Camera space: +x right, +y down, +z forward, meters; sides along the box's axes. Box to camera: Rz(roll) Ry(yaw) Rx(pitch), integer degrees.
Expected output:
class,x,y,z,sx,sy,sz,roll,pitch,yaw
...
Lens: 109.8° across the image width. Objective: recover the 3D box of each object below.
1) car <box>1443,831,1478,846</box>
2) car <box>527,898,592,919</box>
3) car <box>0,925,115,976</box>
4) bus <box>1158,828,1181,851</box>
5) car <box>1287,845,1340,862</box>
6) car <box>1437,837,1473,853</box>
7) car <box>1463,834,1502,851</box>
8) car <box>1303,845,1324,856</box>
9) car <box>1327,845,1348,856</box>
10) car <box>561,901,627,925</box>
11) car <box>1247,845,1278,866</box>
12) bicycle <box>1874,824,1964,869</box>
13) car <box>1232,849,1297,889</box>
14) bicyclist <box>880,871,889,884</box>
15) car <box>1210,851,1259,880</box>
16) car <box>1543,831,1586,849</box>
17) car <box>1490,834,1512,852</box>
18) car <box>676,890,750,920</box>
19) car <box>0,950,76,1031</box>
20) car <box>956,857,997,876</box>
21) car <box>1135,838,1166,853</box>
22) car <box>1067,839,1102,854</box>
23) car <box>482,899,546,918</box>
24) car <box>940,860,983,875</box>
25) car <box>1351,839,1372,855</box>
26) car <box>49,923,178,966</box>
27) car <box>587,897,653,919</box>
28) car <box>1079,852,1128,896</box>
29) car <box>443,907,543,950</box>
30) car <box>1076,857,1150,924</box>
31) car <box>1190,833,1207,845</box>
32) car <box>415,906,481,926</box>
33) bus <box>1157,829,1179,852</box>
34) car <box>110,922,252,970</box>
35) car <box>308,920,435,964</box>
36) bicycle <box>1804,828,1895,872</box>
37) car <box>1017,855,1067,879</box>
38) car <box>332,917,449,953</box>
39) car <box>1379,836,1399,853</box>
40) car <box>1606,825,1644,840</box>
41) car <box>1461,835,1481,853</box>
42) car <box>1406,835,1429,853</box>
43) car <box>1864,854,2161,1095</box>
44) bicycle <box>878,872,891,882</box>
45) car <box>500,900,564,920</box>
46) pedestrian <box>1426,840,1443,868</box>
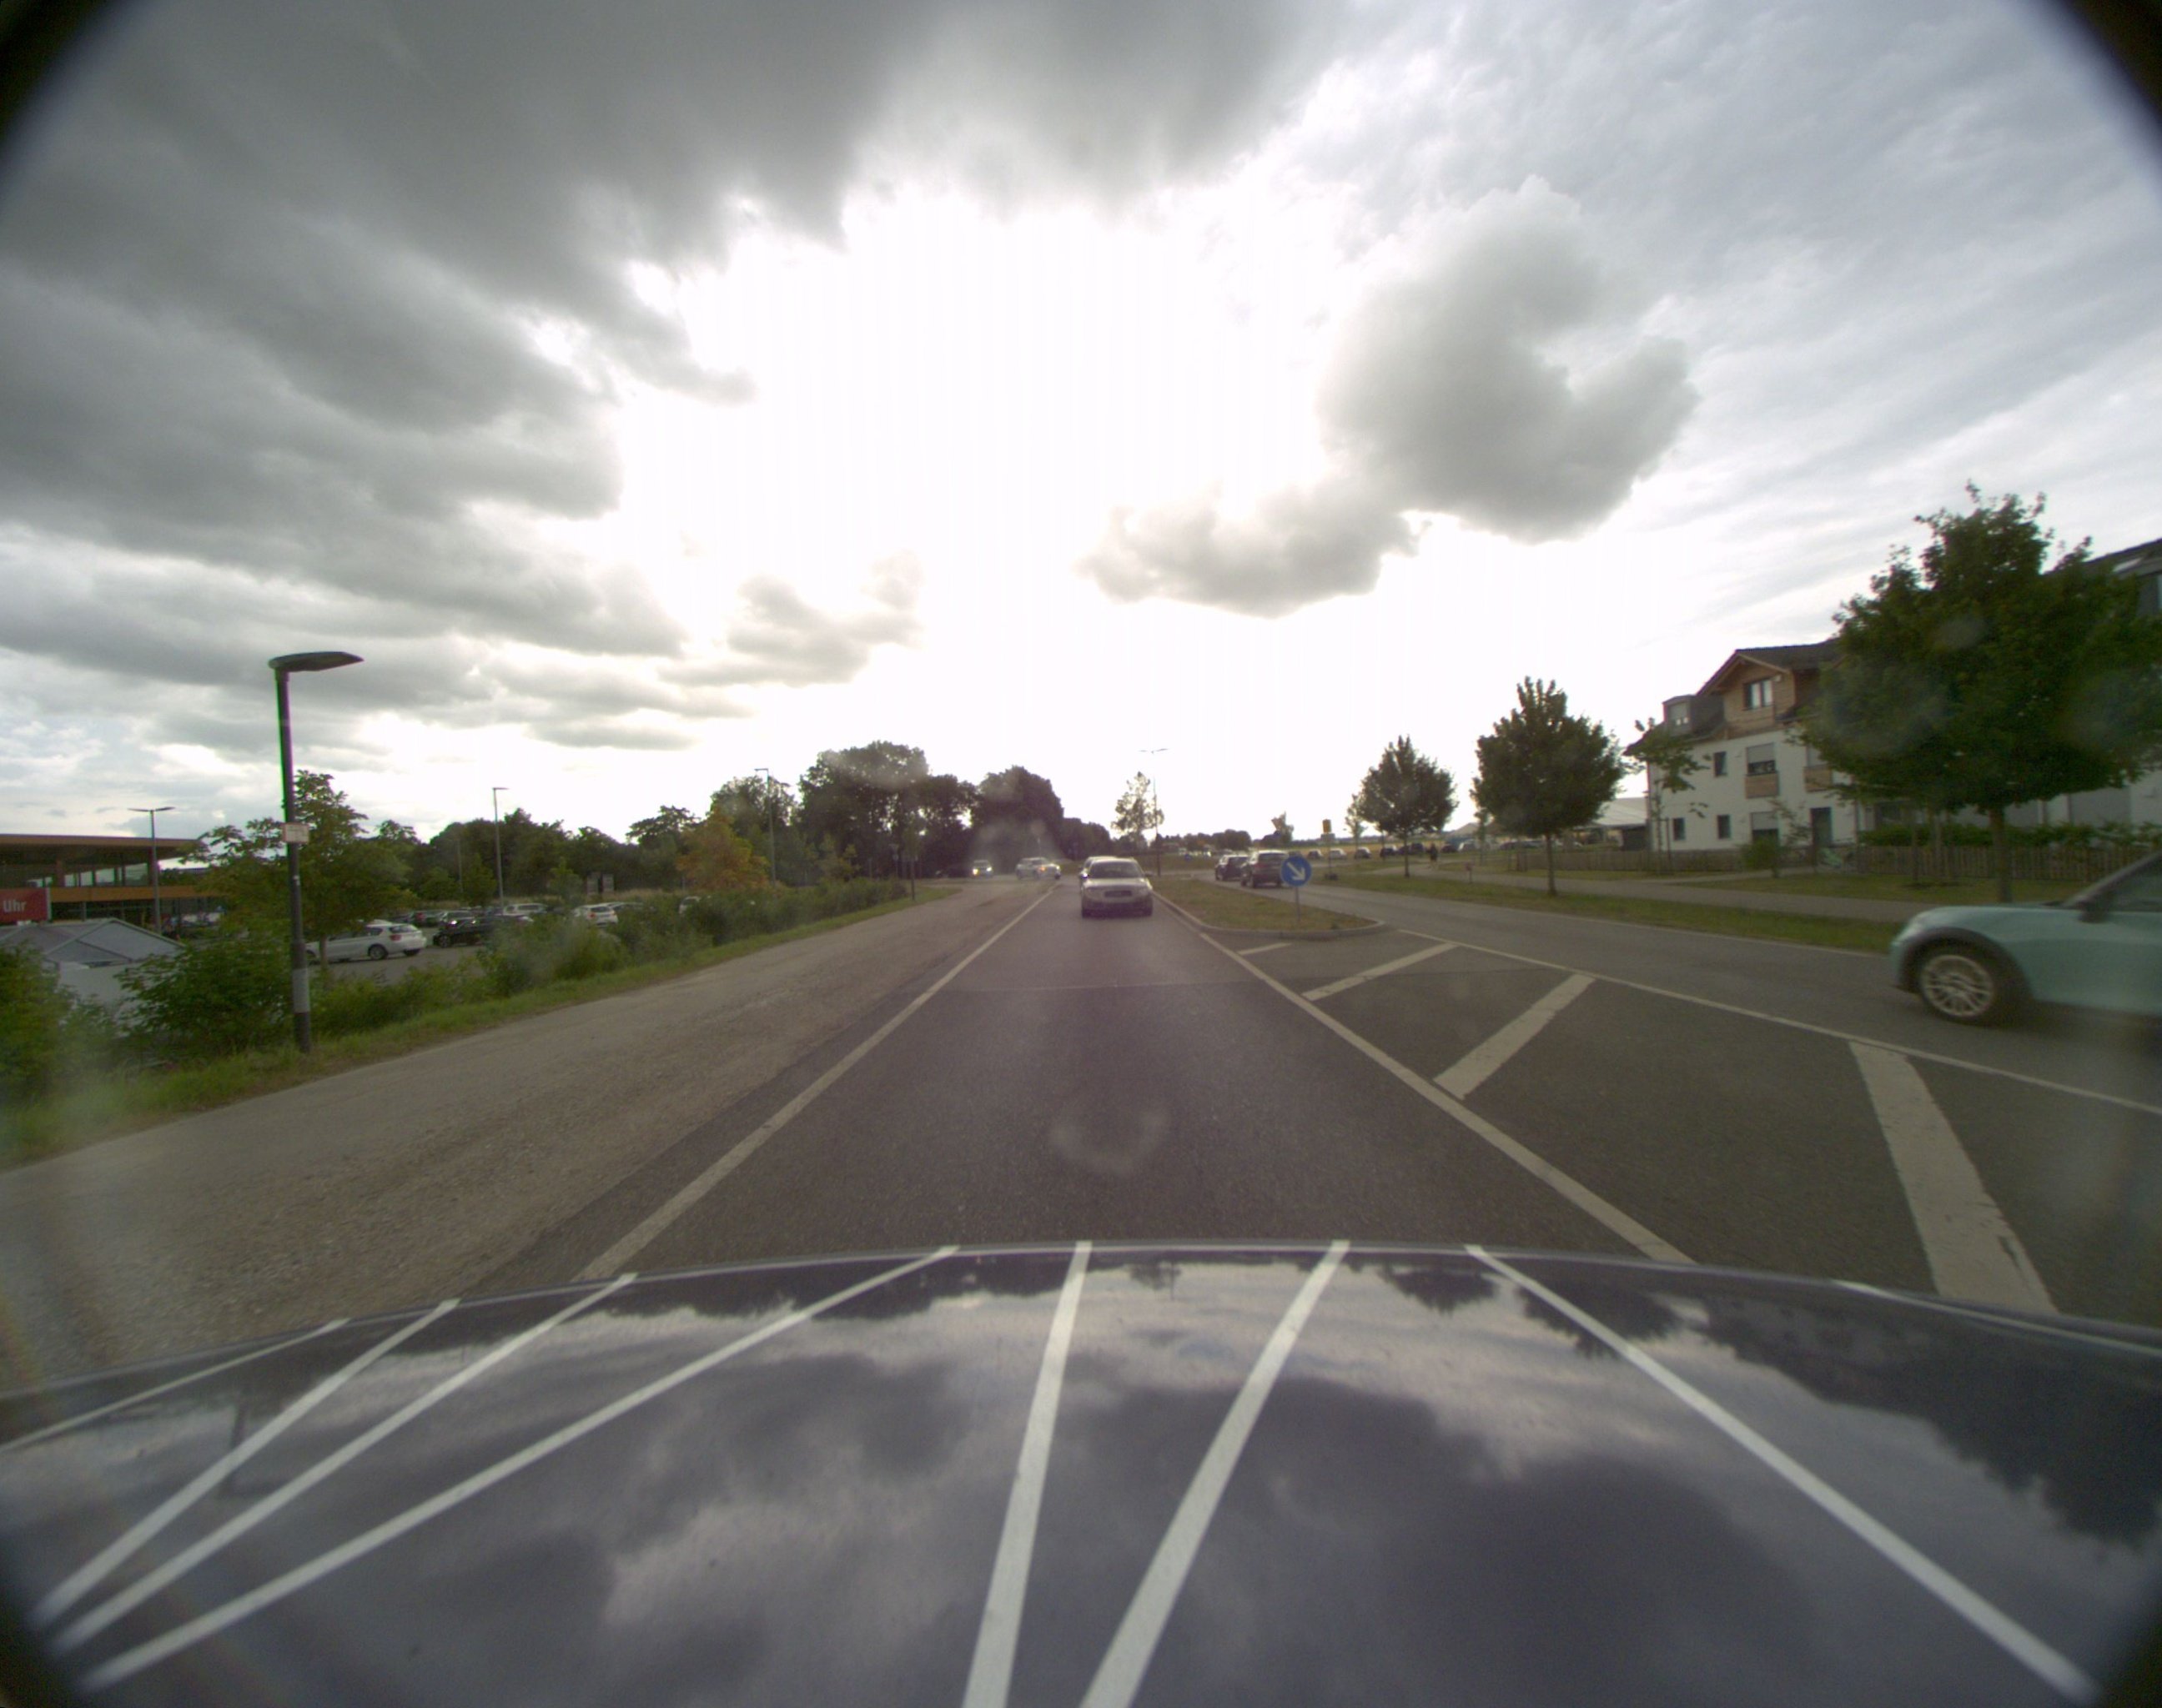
class,x,y,z,sx,sy,sz,roll,pitch,yaw
car,53.649,-2.173,107.511,4.001,2.002,1.998,-2,0,-11
car,-42.947,4.463,62.675,1.697,1.352,4.007,-2,0,28
car,-47.221,4.375,34.622,3.995,2.002,2.072,-2,0,5
bus,12.990,-2.050,111.634,2.990,3.261,6.487,-2,0,4
car,21.458,-0.058,70.103,4.338,1.480,1.829,-2,0,-13
car,50.846,-1.220,103.370,4.001,2.002,1.998,-2,0,-11
car,52.848,-1.500,100.046,4.000,2.002,1.999,-2,0,-8
car,30.027,-0.466,98.188,1.995,1.280,4.007,-2,0,26
car,32.665,-0.422,96.674,1.995,1.280,4.007,-2,0,26
car,-31.029,3.732,48.439,3.989,1.352,1.848,-2,0,30
car,13.713,0.124,57.736,1.829,1.480,4.218,-2,0,7
bicycle,27.718,-0.232,25.194,0.684,1.420,2.094,-2,0,1
car,7.874,0.600,32.939,1.830,1.573,4.216,-2,0,1
bicyclist,-19.709,2.364,76.211,0.657,1.236,0.556,-1,1,41
car,8.426,0.619,42.070,1.830,1.480,4.350,-2,0,1
car,57.282,-1.641,90.097,4.001,2.002,1.998,-2,0,-11
car,49.509,-1.293,89.640,2.227,2.002,4.007,-2,0,29
car,-24.958,3.437,51.662,1.697,1.707,4.250,-1,0,28
car,-29.304,3.583,19.647,4.269,1.860,2.001,-2,0,5
car,-9.281,1.116,67.486,2.004,1.510,3.761,-2,0,-37
car,8.523,-1.064,92.966,1.994,1.674,4.008,-1,0,38
car,0.424,-0.918,93.375,1.995,1.794,4.781,-1,0,33
car,-48.976,4.700,65.687,1.697,1.352,4.007,-2,0,28
car,-12.194,1.397,77.505,4.004,1.412,1.713,-2,0,-21
car,35.330,-0.892,95.681,1.995,2.002,4.007,-2,0,26
car,-47.867,4.449,37.658,3.995,1.837,2.072,-2,0,5
car,-35.190,4.128,58.100,1.697,1.352,4.007,-2,0,28
car,1.030,0.772,32.416,1.869,1.578,5.063,-3,1,3
car,-28.959,3.647,37.521,3.390,1.696,1.802,-5,0,0
car,0.887,0.861,19.873,1.700,1.458,4.001,-2,1,4
car,15.968,-2.045,103.570,1.774,1.435,4.000,-2,0,1
car,-55.324,5.407,66.466,1.697,1.352,4.007,-2,0,28
bus,13.508,-2.068,118.232,2.990,3.261,6.704,-2,0,4
car,-40.593,4.144,34.323,4.269,1.860,2.001,-2,0,5
car,-29.268,3.608,31.430,3.558,1.524,1.753,-2,0,0
bicycle,25.803,-0.131,25.572,0.684,1.404,2.344,-2,0,1
car,-2.958,0.965,56.569,2.003,1.674,3.990,-2,0,-32
car,-34.050,3.973,37.542,4.127,1.476,2.001,-2,0,5
car,38.061,-1.189,93.820,1.995,2.002,4.007,-2,0,26
car,81.081,-3.241,113.311,4.568,2.002,1.998,-2,0,-11
car,47.346,-1.229,92.120,1.995,2.002,4.007,-1,0,29
car,40.828,-1.210,92.247,1.996,2.002,4.005,-2,0,16
car,7.498,0.739,4.423,1.774,1.435,4.000,-2,0,1
bicycle,-19.733,2.284,76.228,1.297,0.956,0.569,-1,0,41
car,-46.233,4.696,64.037,1.697,1.352,4.007,-2,0,28
pedestrian,19.970,-0.006,42.931,0.547,1.521,0.586,-4,0,1
